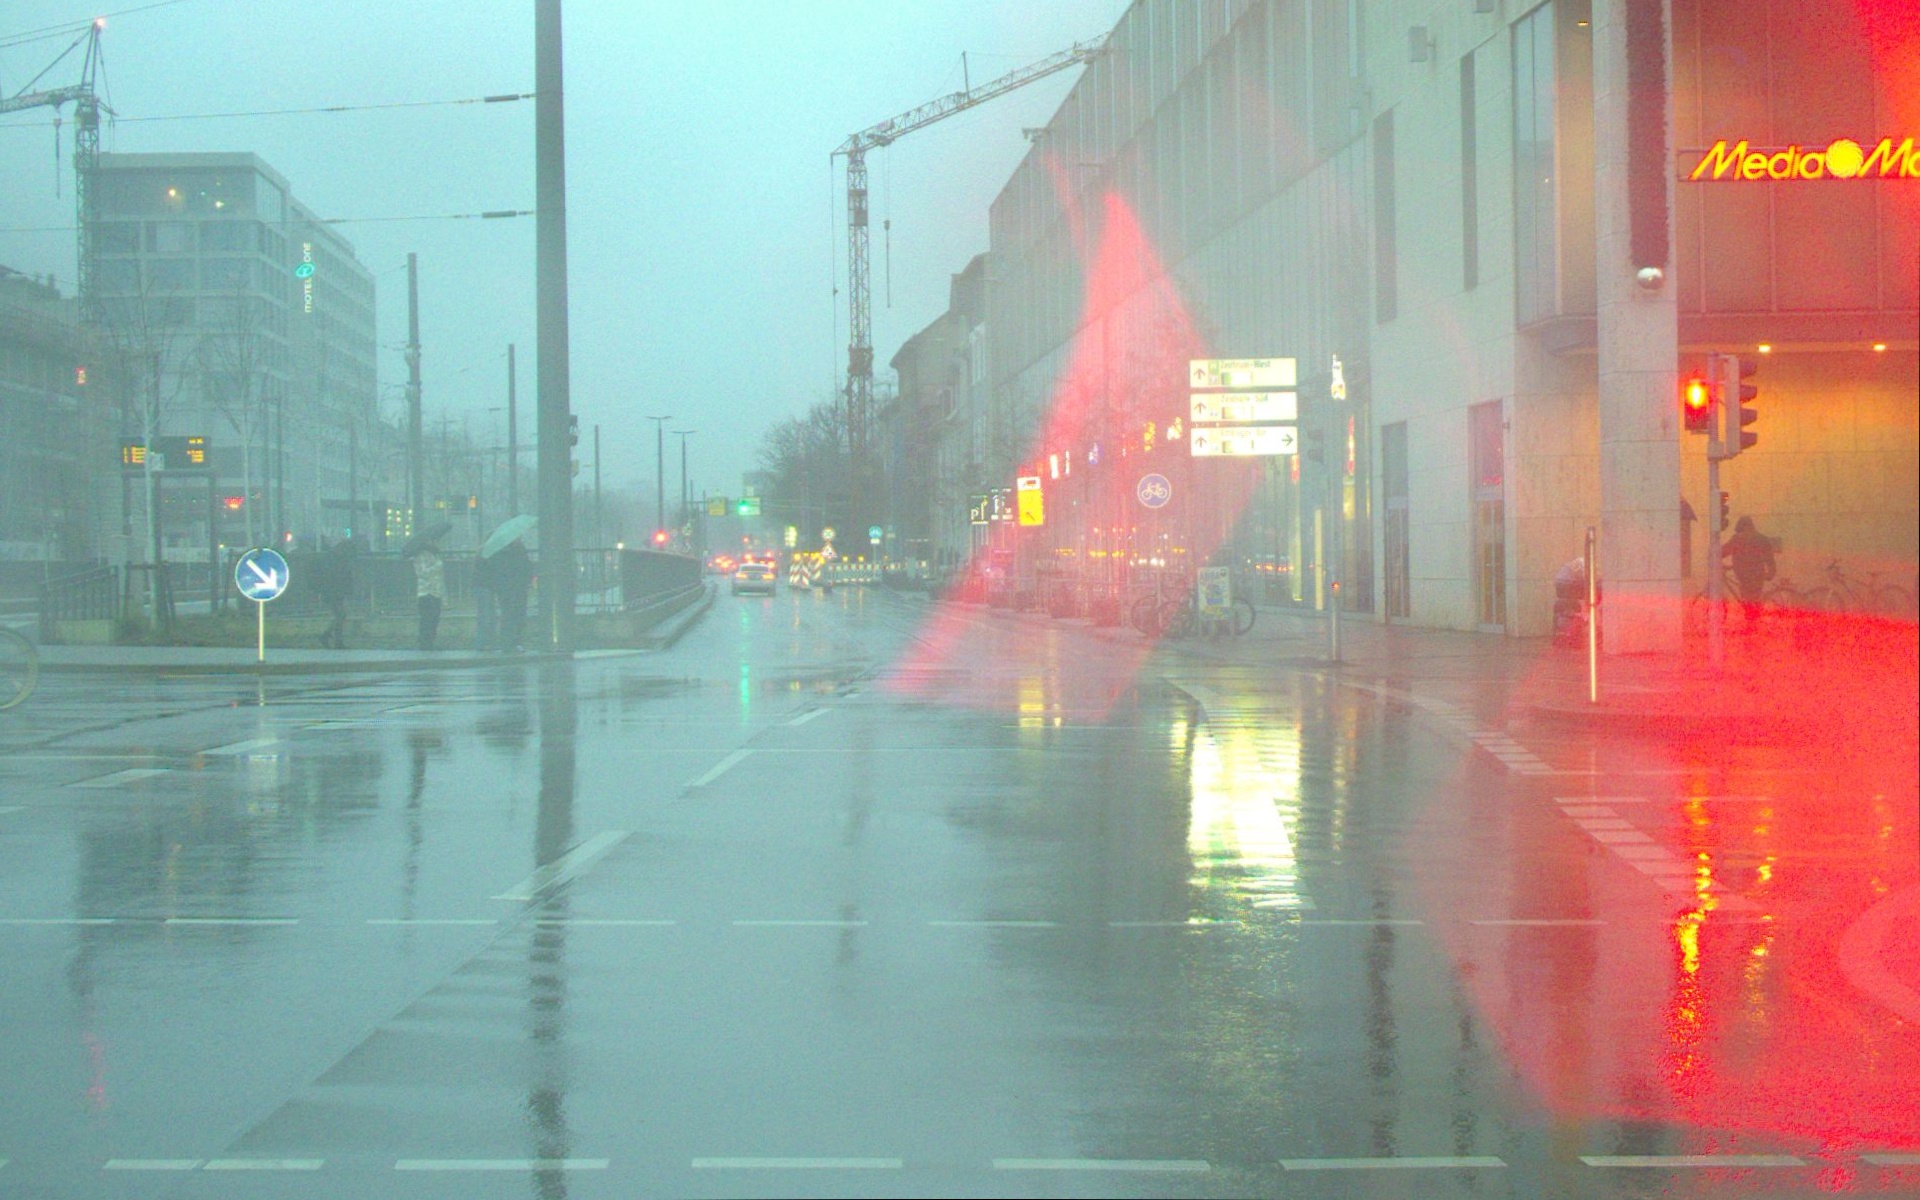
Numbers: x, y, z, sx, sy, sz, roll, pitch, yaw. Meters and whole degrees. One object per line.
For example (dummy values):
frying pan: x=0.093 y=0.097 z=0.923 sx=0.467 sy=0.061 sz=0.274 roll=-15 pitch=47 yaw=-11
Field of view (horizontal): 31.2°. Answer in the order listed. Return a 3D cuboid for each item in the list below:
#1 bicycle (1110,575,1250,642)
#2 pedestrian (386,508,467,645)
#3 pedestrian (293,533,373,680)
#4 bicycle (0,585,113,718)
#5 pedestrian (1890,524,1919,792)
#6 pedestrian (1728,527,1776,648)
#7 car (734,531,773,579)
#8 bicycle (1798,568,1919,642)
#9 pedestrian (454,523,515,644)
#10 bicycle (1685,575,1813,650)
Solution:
bicycle: x=3.945 y=0.143 z=61.660 sx=2.442 sy=1.150 sz=0.674 roll=-1 pitch=0 yaw=-1
pedestrian: x=-7.204 y=-0.315 z=46.418 sx=0.821 sy=1.825 sz=0.786 roll=1 pitch=0 yaw=-31
pedestrian: x=-8.655 y=0.080 z=47.460 sx=0.785 sy=2.007 sz=0.726 roll=1 pitch=1 yaw=42
bicycle: x=-8.537 y=0.417 z=28.619 sx=2.855 sy=1.095 sz=0.745 roll=1 pitch=0 yaw=-16
pedestrian: x=9.043 y=0.530 z=31.663 sx=0.714 sy=2.433 sz=0.758 roll=1 pitch=0 yaw=-1
pedestrian: x=11.460 y=-0.185 z=49.773 sx=0.600 sy=1.739 sz=0.524 roll=1 pitch=0 yaw=8
car: x=-8.840 y=-1.924 z=147.083 sx=1.577 sy=2.007 sz=3.172 roll=-1 pitch=1 yaw=-3
bicycle: x=13.284 y=0.069 z=50.819 sx=1.646 sy=1.066 sz=0.525 roll=1 pitch=0 yaw=-4
pedestrian: x=-6.638 y=-0.234 z=47.991 sx=0.612 sy=1.680 sz=0.577 roll=1 pitch=1 yaw=42
bicycle: x=11.548 y=0.174 z=50.347 sx=1.768 sy=1.066 sz=0.524 roll=1 pitch=0 yaw=8
